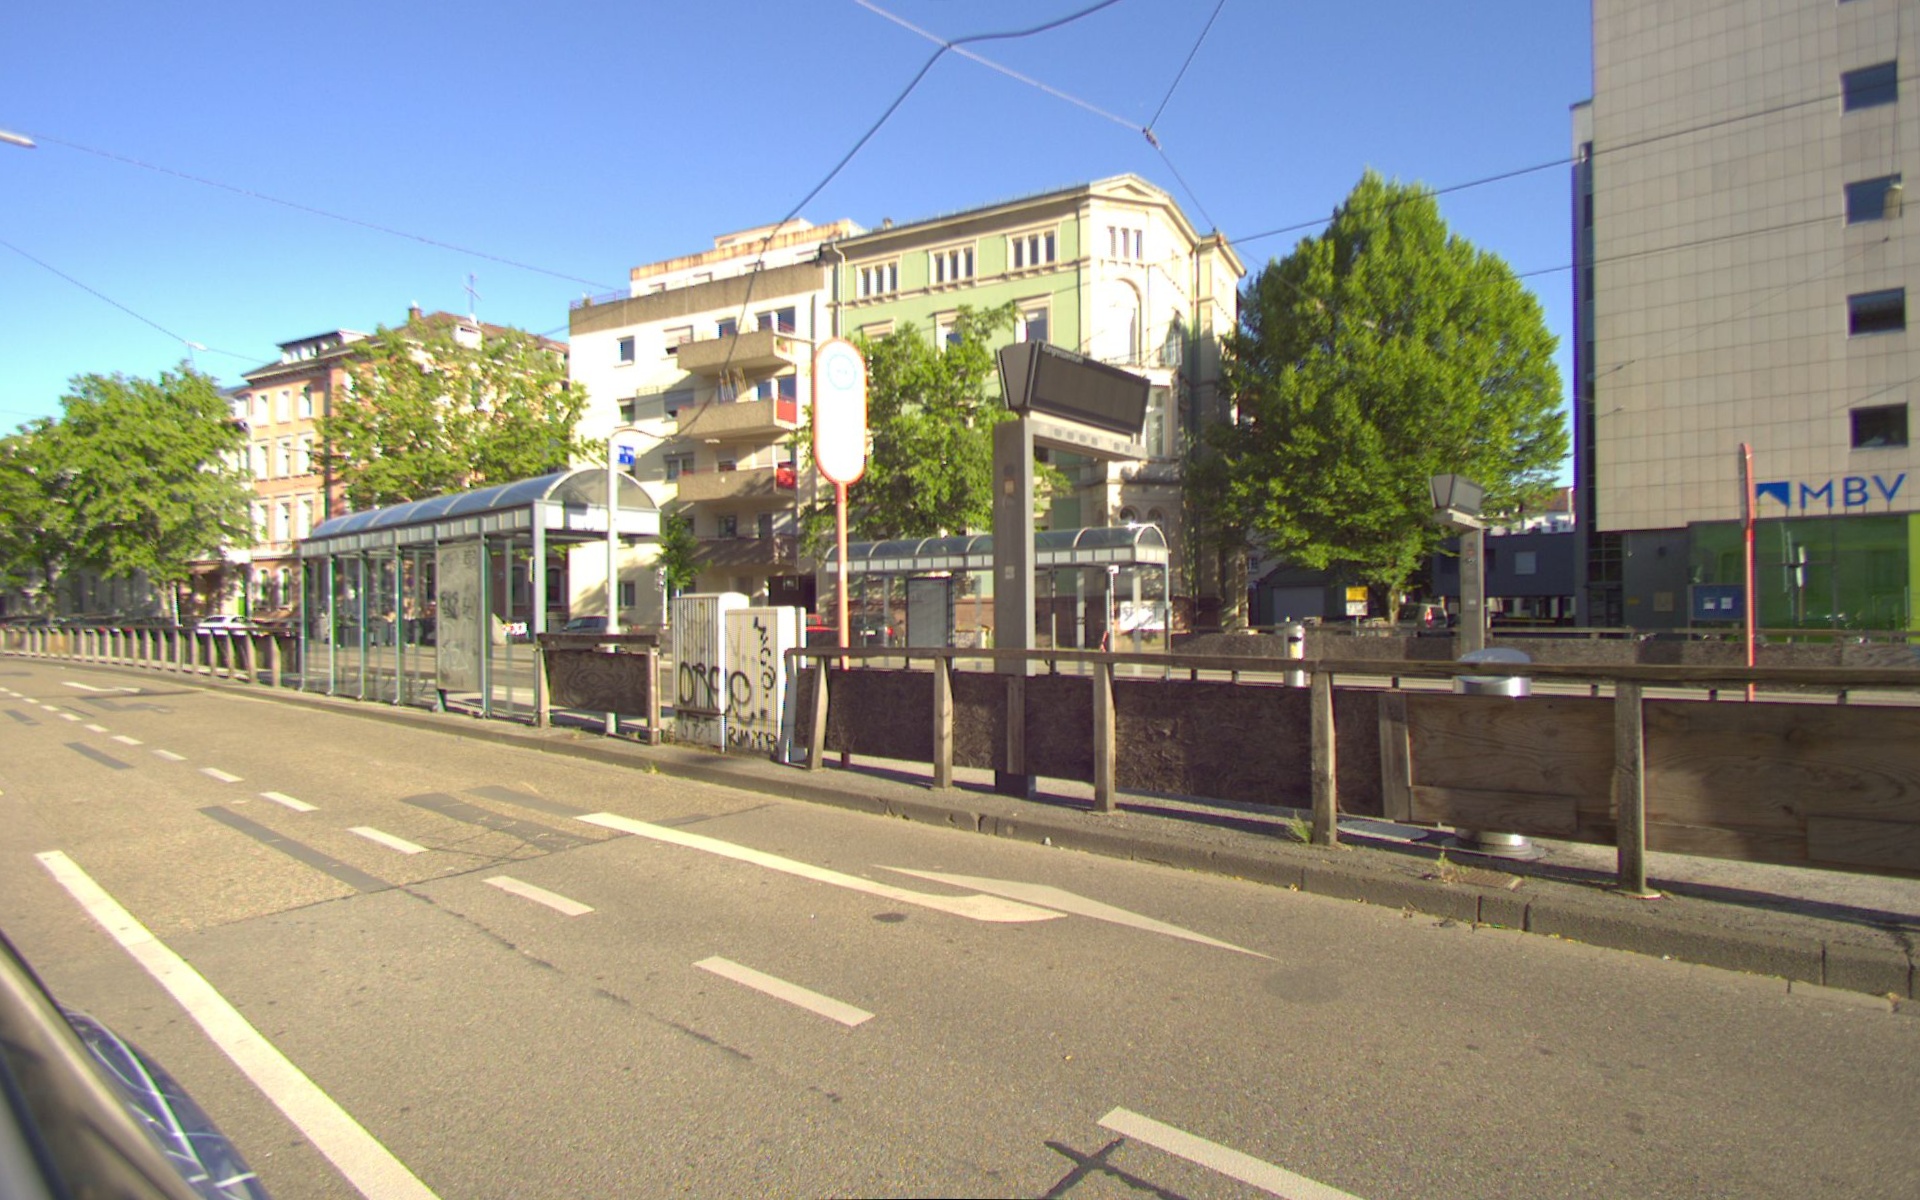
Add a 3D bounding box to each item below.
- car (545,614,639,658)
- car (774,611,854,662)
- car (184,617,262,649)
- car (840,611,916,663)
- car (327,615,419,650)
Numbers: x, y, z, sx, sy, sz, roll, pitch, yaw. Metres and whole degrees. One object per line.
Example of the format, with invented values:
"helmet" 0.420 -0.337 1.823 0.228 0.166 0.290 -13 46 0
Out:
"car" -14.036 1.330 38.512 3.592 1.579 1.612 -1 0 35
"car" -4.924 1.212 34.560 1.614 1.579 3.588 -1 0 11
"car" -39.402 1.736 54.206 1.607 1.579 3.601 -1 0 -2
"car" -2.651 1.182 33.364 1.614 1.579 3.588 -1 0 11
"car" -28.402 1.556 49.049 1.626 1.579 3.560 -1 0 33
